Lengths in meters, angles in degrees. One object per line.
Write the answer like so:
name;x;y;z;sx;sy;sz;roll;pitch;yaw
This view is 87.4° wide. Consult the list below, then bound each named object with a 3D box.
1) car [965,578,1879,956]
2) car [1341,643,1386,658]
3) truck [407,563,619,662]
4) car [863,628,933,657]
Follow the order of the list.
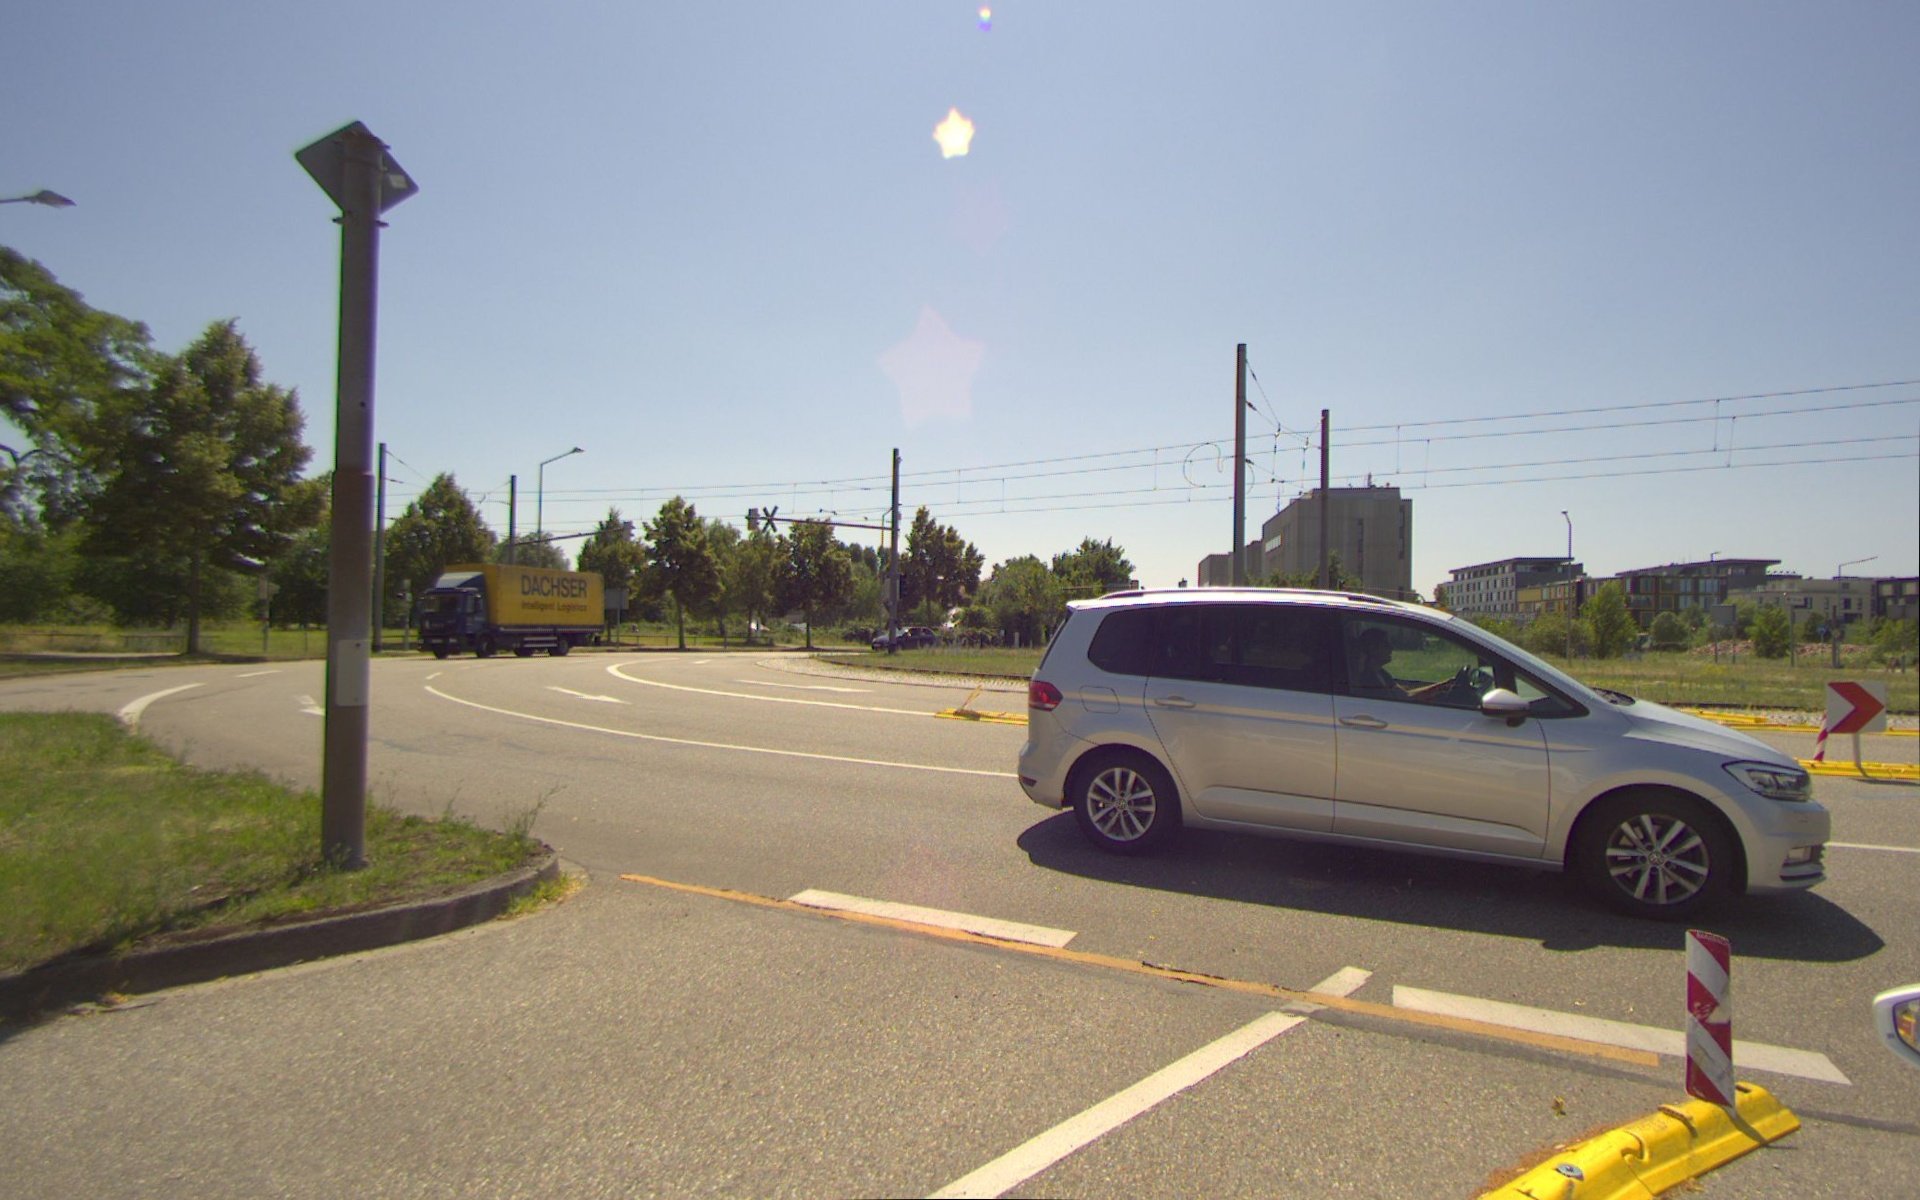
car;2.463;0.762;6.292;4.519;1.670;1.804;0;-2;27
car;32.675;4.088;81.329;1.474;1.104;3.506;1;-2;-18
truck;-18.525;0.624;42.645;2.653;3.707;9.621;1;-2;15
car;-3.272;2.271;53.972;1.700;1.480;4.039;0;-2;32
